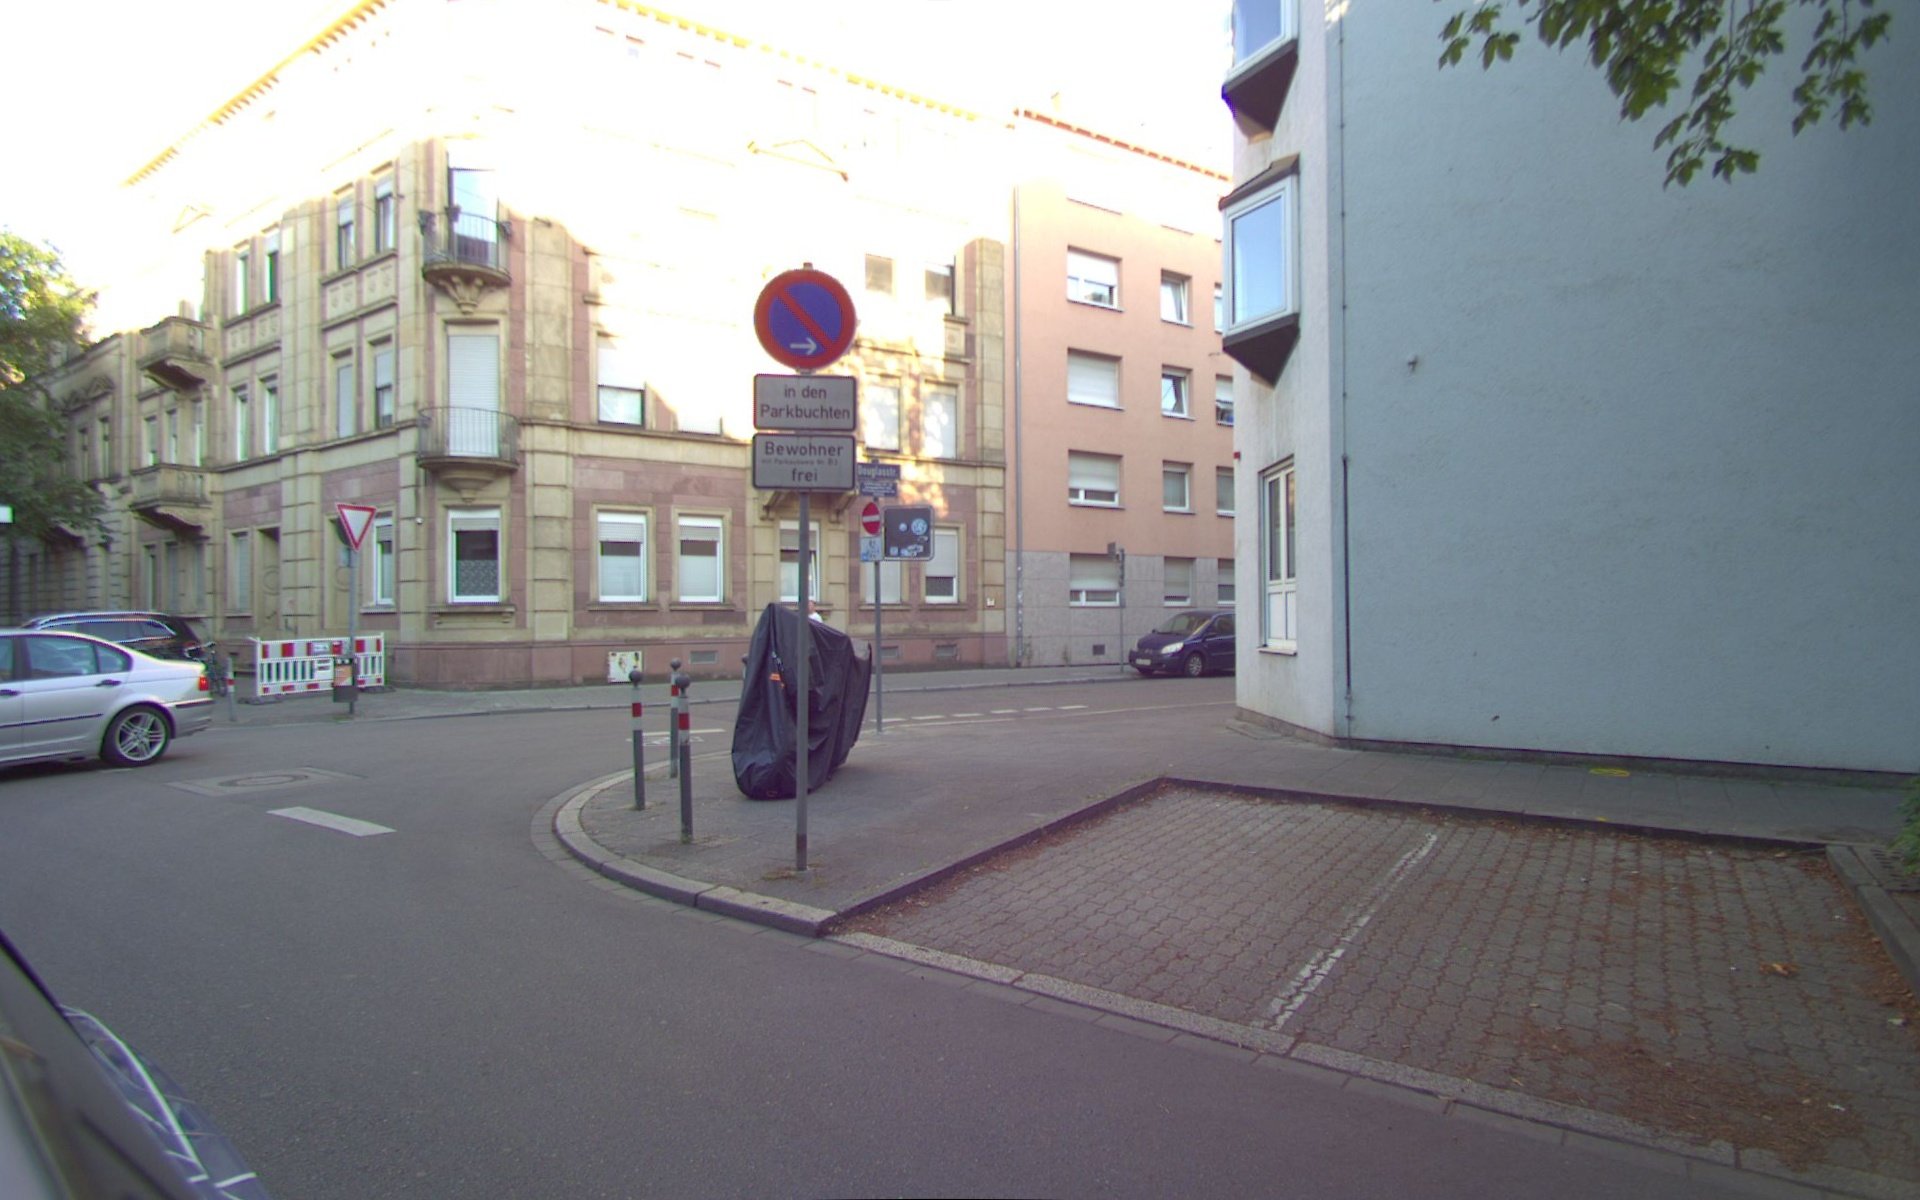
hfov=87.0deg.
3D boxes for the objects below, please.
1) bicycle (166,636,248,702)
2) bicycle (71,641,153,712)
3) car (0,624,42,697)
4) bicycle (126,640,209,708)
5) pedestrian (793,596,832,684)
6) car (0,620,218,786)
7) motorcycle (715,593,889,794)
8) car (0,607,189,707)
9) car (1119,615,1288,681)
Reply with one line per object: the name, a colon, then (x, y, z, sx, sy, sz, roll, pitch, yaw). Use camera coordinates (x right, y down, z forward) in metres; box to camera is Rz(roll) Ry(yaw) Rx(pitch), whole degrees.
bicycle: (-14.008, 1.250, 18.819, 2.033, 1.159, 0.556, -1, -1, 33)
bicycle: (-14.834, 1.310, 17.688, 2.034, 1.159, 0.555, -1, -1, 34)
car: (-23.865, 1.417, 23.031, 1.740, 1.690, 4.190, -1, -2, 39)
bicycle: (-14.363, 1.312, 18.316, 2.033, 1.159, 0.556, -1, -1, 33)
pedestrian: (-3.131, 0.852, 21.507, 0.640, 1.821, 0.575, 2, -3, -31)
car: (-9.368, 0.926, 8.970, 1.697, 1.453, 4.412, -1, -1, 16)
motorcycle: (-1.293, 0.730, 8.830, 0.809, 1.516, 2.276, -1, -1, 10)
car: (-17.458, 1.040, 19.097, 1.740, 1.795, 4.367, -1, -2, 39)
car: (6.178, 1.142, 25.477, 4.297, 1.529, 1.789, 1, -2, -36)
